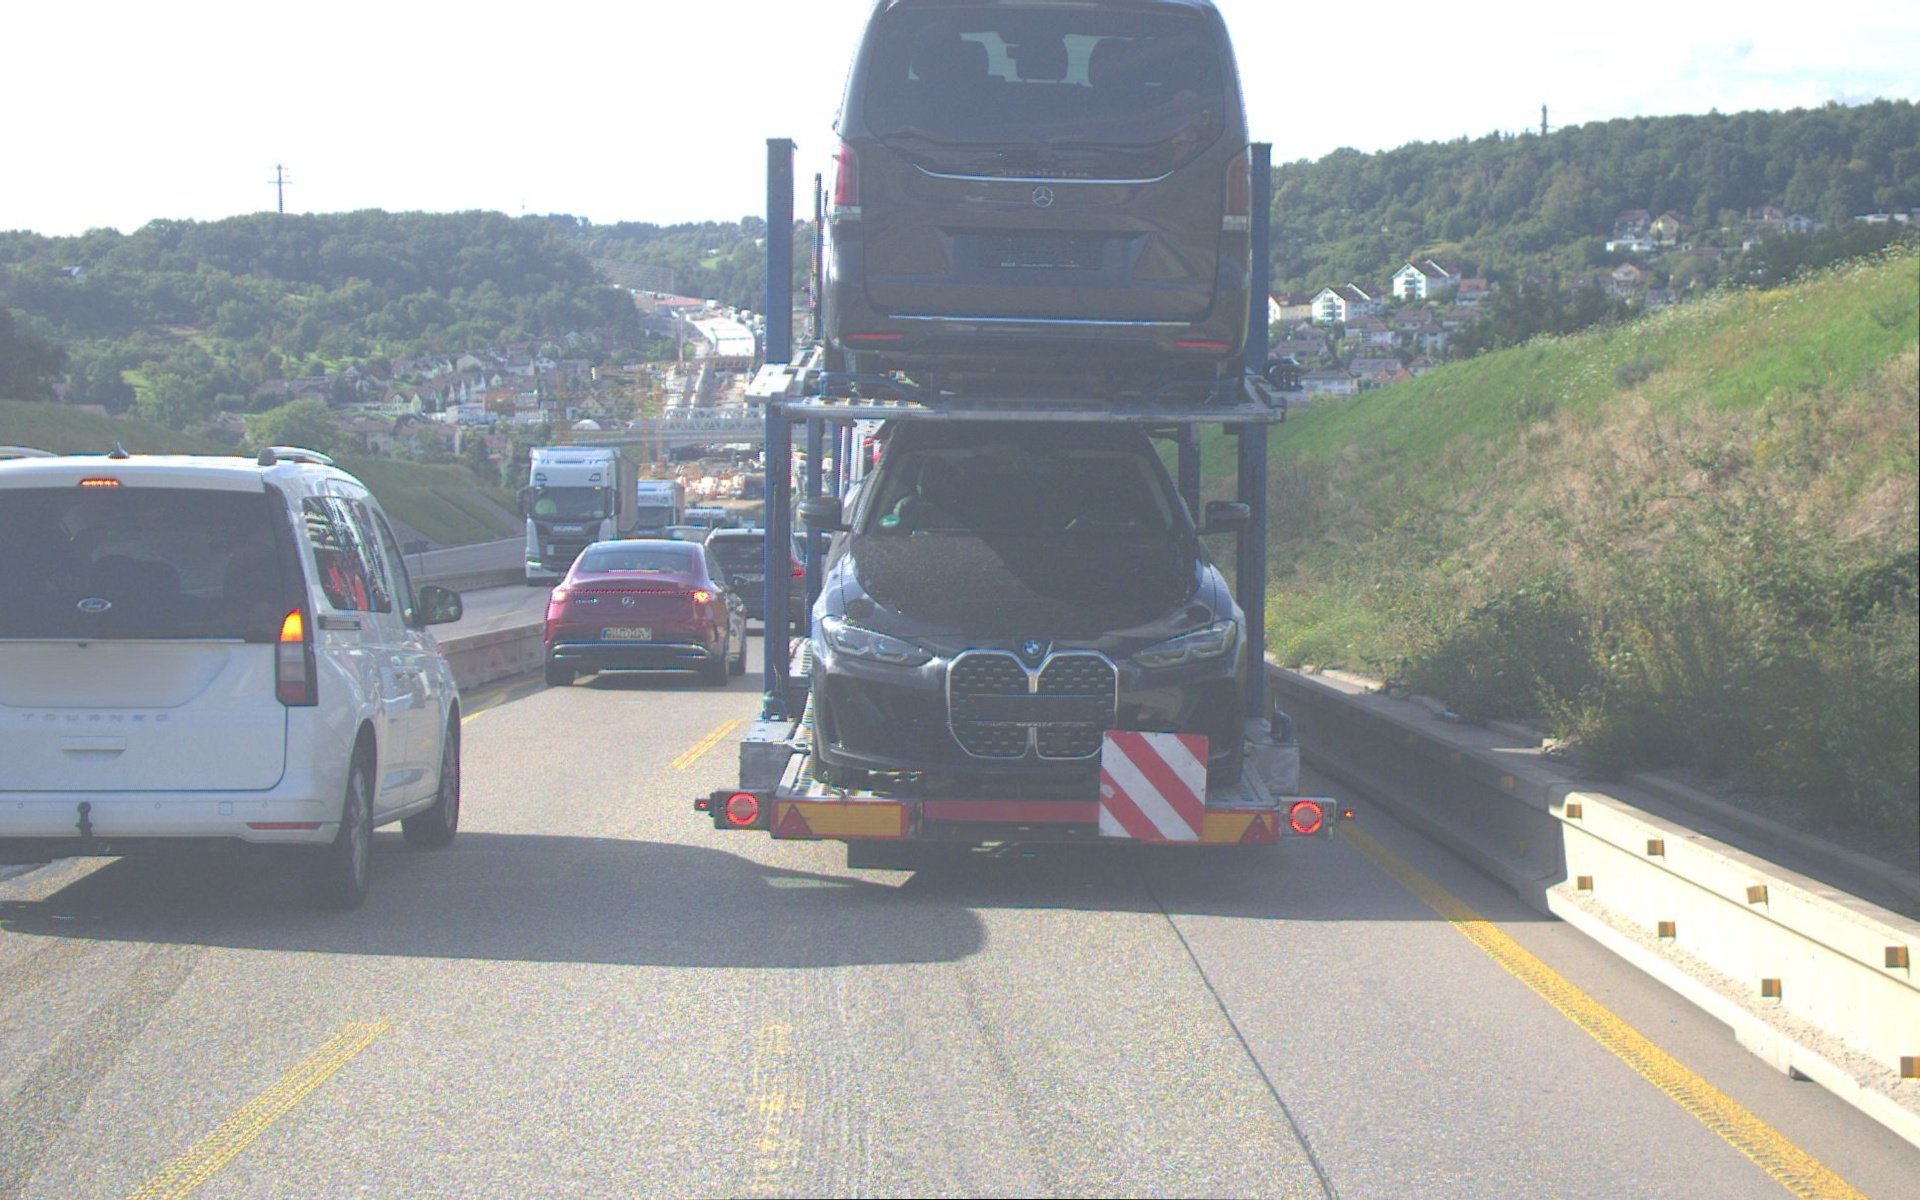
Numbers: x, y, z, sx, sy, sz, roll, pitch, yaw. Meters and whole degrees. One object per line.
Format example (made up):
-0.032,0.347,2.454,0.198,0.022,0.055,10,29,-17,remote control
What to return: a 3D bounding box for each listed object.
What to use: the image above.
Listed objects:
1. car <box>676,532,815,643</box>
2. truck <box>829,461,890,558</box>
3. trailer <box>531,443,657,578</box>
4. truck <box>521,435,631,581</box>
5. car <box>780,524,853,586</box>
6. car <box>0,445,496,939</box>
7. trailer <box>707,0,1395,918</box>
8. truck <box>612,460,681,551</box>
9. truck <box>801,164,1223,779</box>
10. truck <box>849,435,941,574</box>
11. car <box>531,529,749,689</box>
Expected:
-3.288,-0.231,53.496,1.993,1.619,4.751,1,1,-2,car
-4.838,-4.378,167.911,2.863,4.555,11.659,0,1,-1,truck
-11.276,-2.747,107.065,2.614,3.940,13.875,0,1,-1,trailer
-11.166,-2.667,100.416,2.614,4.139,5.782,0,1,-1,truck
-3.730,-1.195,90.097,1.796,1.591,4.743,0,1,-1,car
-3.244,0.276,15.032,1.823,1.817,4.456,1,2,0,car
0.326,-0.874,19.267,2.708,4.015,11.420,0,1,0,trailer
-14.532,-4.377,160.156,2.638,4.085,10.820,0,1,-2,truck
0.292,-0.879,24.884,2.678,3.908,6.028,0,1,-1,truck
-2.322,-3.245,118.534,2.863,4.555,11.659,0,1,-3,truck
-3.242,0.038,35.647,1.823,1.487,4.685,1,2,0,car
